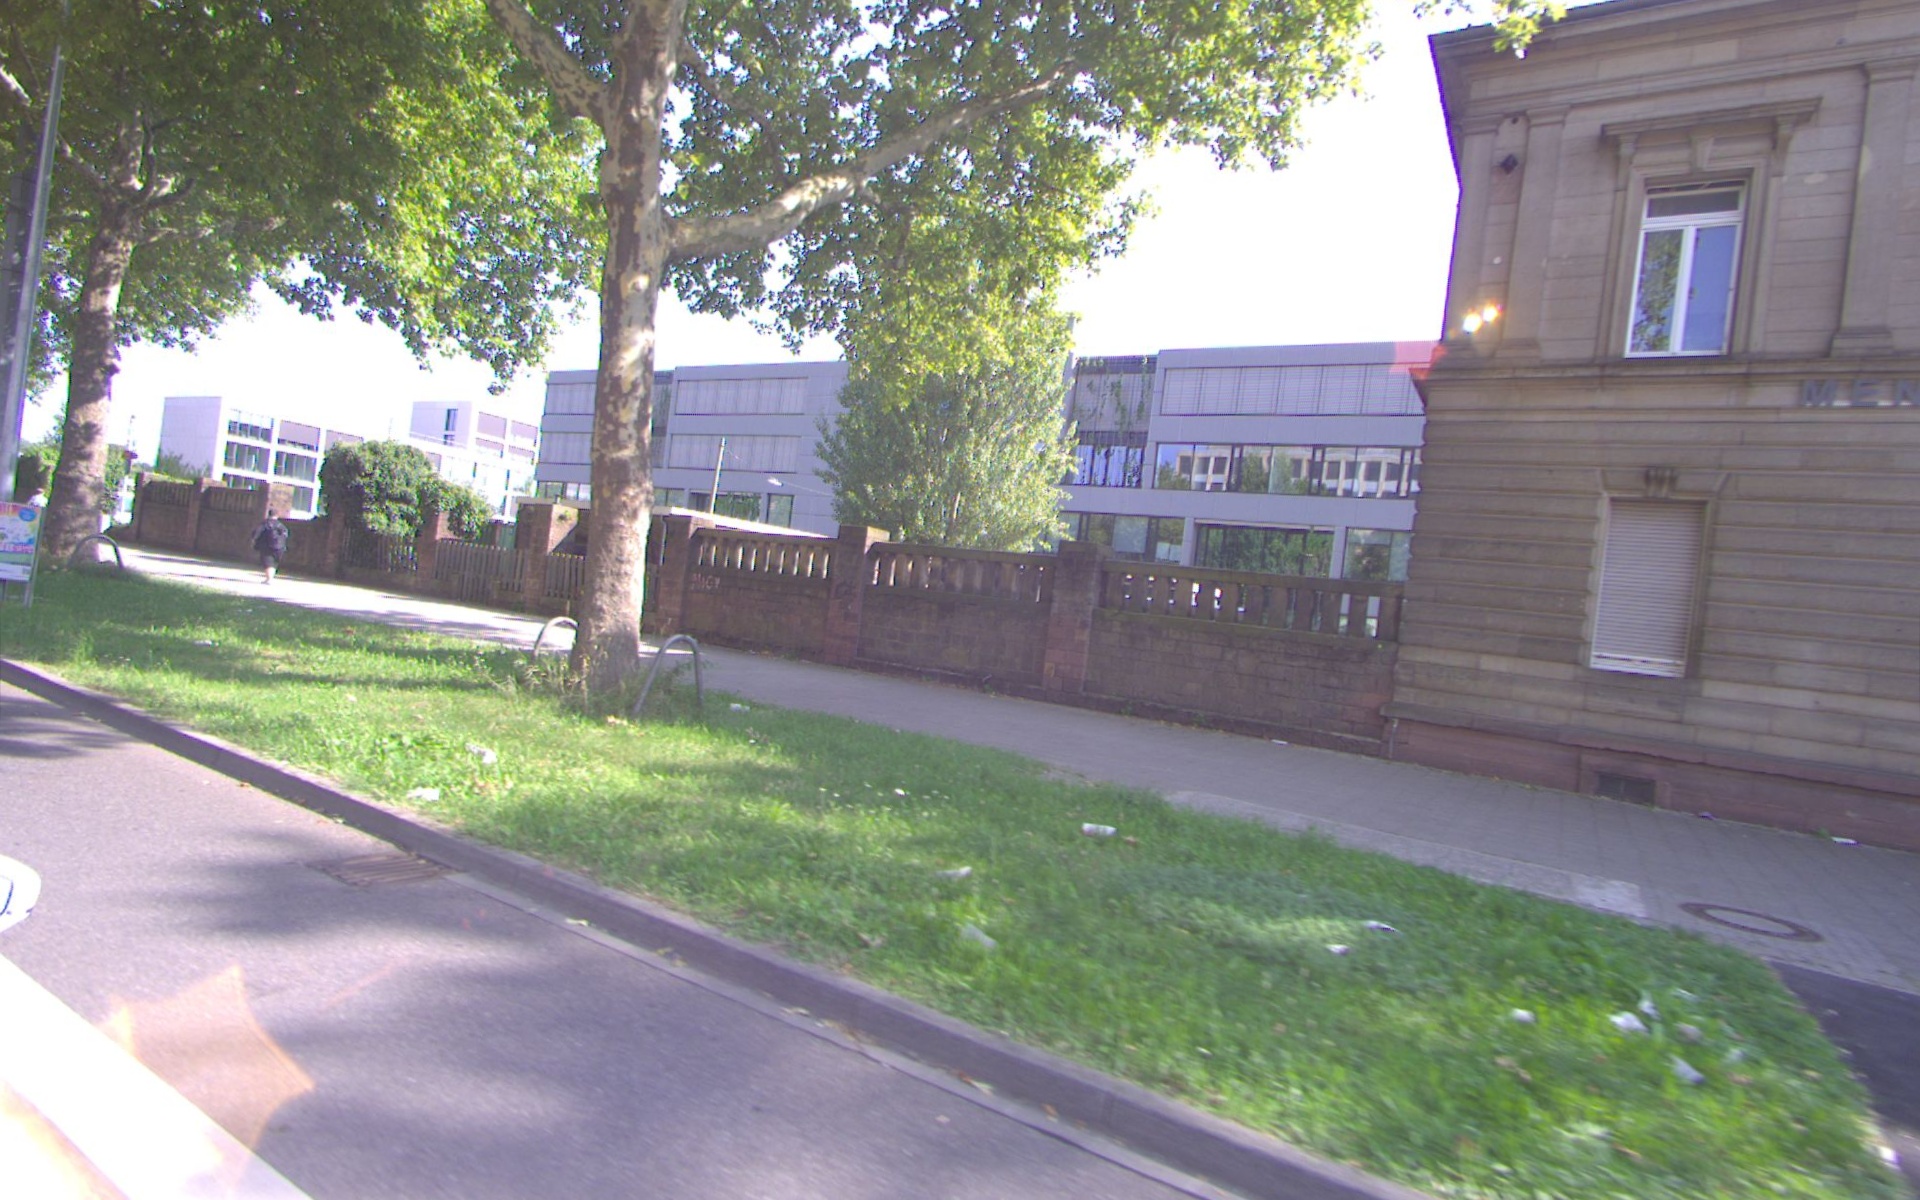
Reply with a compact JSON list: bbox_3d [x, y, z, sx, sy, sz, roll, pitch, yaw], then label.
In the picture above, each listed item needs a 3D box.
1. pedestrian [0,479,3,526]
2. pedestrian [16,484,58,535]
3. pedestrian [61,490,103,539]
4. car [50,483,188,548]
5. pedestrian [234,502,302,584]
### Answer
[{"bbox_3d":[-30.416,-2.997,31.197,0.931,1.657,0.806,7,2,32],"label":"pedestrian"},{"bbox_3d":[-32.138,-3.153,35.028,0.931,1.624,0.806,7,2,32],"label":"pedestrian"},{"bbox_3d":[-31.442,-3.066,36.018,0.931,1.624,0.806,7,2,32],"label":"pedestrian"},{"bbox_3d":[-41.398,-4.124,49.625,2.022,2.345,4.671,6,-2,32],"label":"car"},{"bbox_3d":[-15.683,-1.287,22.799,0.995,1.707,0.819,7,1,32],"label":"pedestrian"}]
